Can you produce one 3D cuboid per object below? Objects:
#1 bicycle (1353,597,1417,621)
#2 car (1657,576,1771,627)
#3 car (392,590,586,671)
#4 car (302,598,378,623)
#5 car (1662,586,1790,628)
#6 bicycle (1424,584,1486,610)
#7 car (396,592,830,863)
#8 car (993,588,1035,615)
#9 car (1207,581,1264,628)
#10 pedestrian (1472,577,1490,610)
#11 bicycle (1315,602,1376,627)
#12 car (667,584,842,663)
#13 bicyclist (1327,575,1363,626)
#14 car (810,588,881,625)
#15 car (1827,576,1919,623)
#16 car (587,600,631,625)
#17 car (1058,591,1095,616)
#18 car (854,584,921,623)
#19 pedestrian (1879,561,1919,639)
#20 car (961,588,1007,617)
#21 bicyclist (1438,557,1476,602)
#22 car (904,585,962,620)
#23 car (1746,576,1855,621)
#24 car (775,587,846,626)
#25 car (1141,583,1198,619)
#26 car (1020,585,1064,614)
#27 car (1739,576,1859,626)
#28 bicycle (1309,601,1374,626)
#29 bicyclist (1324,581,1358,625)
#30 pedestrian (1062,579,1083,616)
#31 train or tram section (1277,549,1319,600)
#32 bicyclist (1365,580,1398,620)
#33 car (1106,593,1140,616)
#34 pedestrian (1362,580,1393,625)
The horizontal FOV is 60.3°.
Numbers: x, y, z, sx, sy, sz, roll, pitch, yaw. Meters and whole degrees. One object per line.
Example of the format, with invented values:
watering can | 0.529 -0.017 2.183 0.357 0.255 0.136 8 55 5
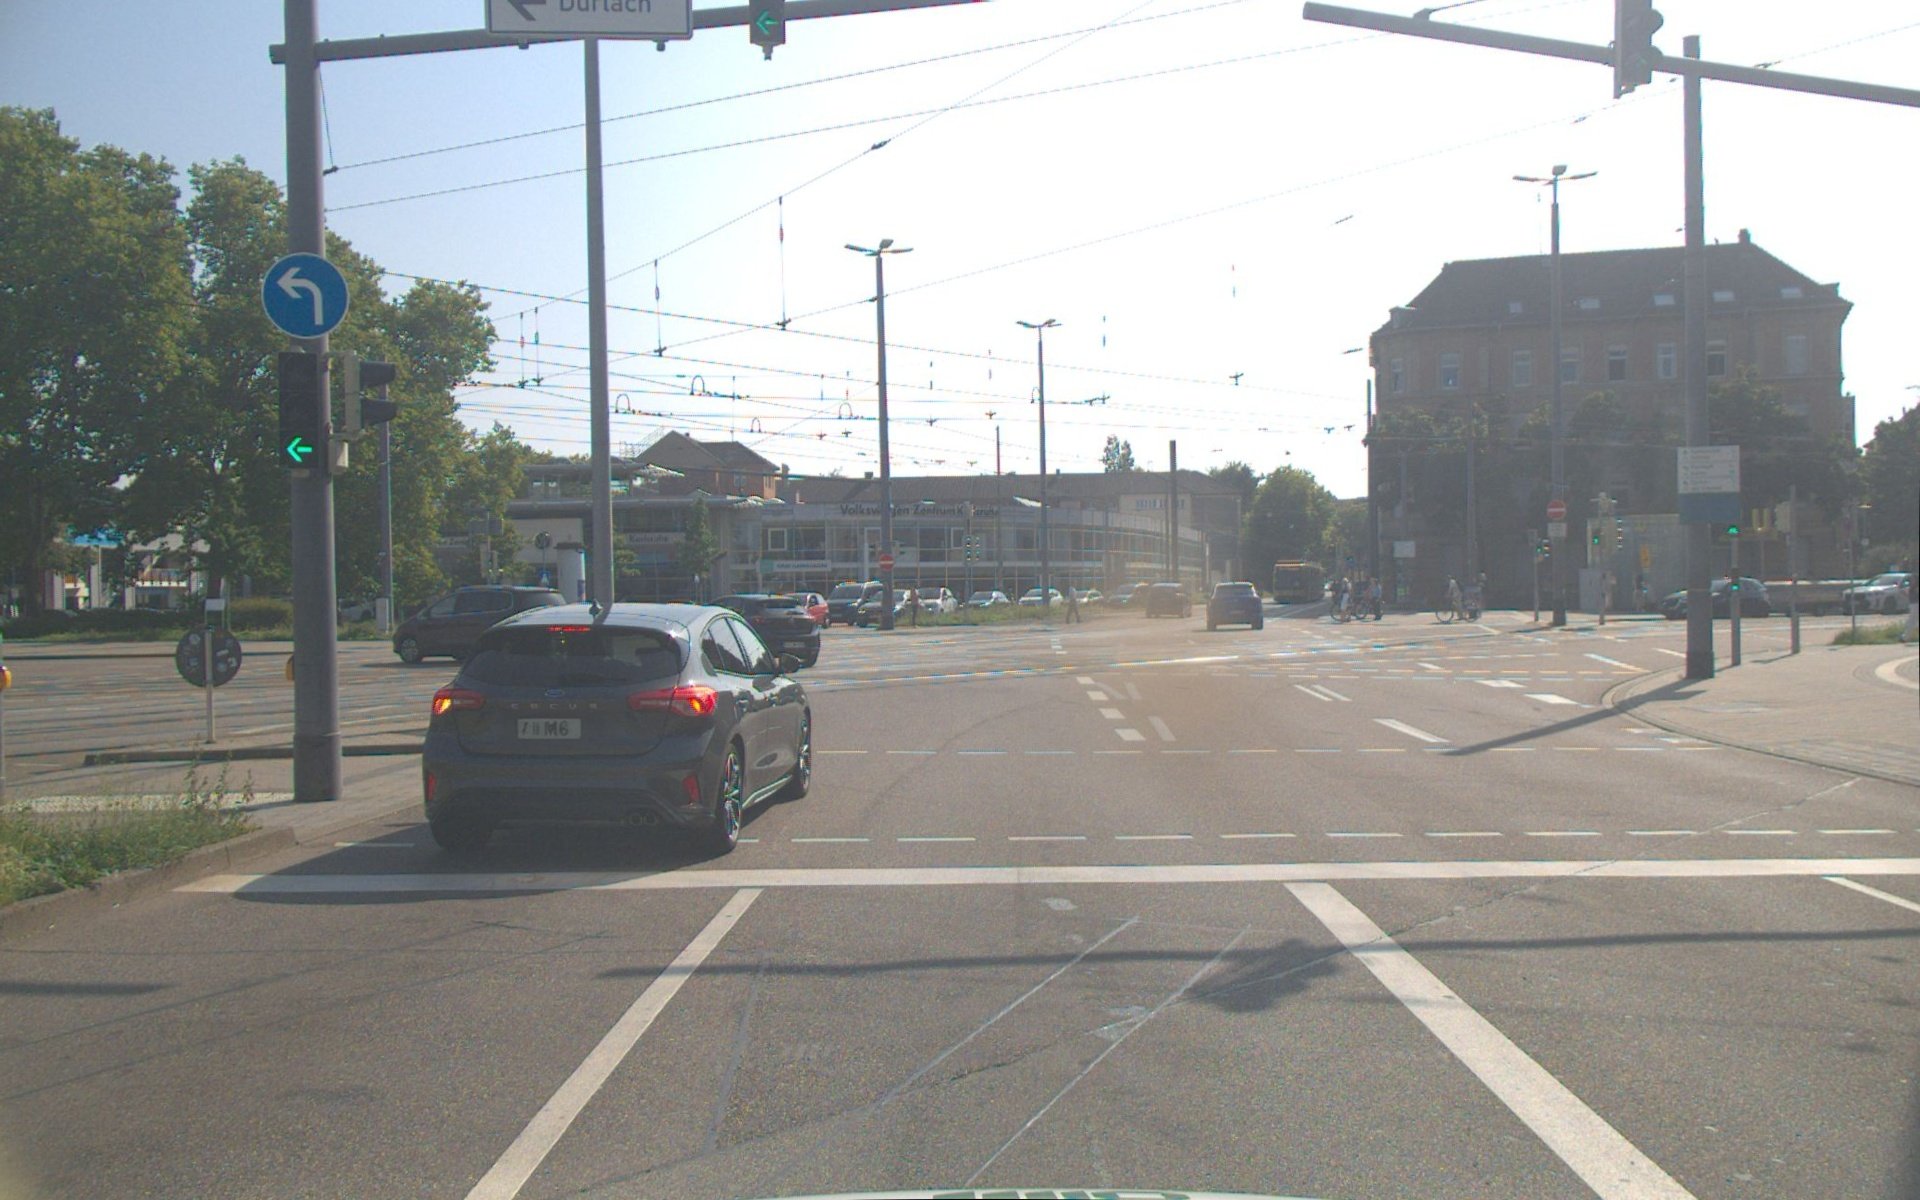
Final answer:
bicycle | 18.336 0.369 71.341 2.585 0.981 1.085 -1 0 -25
car | 28.963 0.054 63.545 4.189 1.891 1.892 -1 0 -29
car | -10.877 0.686 38.157 4.316 1.744 1.828 -1 0 30
car | -39.716 0.674 106.049 1.668 1.549 4.506 -1 0 30
car | 27.466 0.221 59.303 4.325 1.421 2.004 -1 0 -29
bicycle | 19.556 -0.131 65.291 2.600 0.981 1.078 -1 0 -38
car | -2.071 0.689 11.272 1.794 1.460 4.552 -1 0 3
car | 3.258 0.096 99.044 1.580 1.501 4.003 -3 0 15
car | 9.212 0.124 55.355 1.786 1.453 4.416 -1 1 9
pedestrian | 23.860 -0.284 75.708 0.537 1.496 0.663 -1 0 45
bicycle | 15.727 0.584 67.460 2.600 0.981 1.078 -1 0 -38
car | -4.295 0.498 34.028 1.670 1.518 4.315 0 -1 -37
bicyclist | 15.683 0.031 67.434 0.927 2.059 1.078 -1 0 -38
car | -5.053 0.256 73.437 1.919 1.501 4.003 -3 0 14
car | 37.861 -0.039 67.685 4.598 1.891 2.026 -1 0 -29
car | -22.254 0.790 104.899 1.664 1.549 4.101 -1 0 4
car | 7.486 0.217 105.924 1.580 1.501 4.003 -3 0 15
car | -2.960 0.119 68.324 1.580 1.501 4.003 -3 0 14
pedestrian | 21.267 -0.002 37.245 0.904 1.719 0.834 -1 0 36
car | 1.376 0.130 92.105 1.580 1.501 4.003 -3 0 15
bicyclist | 19.637 -0.815 65.356 0.927 1.738 1.078 -1 0 -38
car | -1.184 0.096 74.766 1.580 1.501 4.003 -3 0 14
car | 37.103 -0.083 73.029 4.196 1.891 1.921 -1 0 -20
car | -6.068 0.251 67.513 1.580 1.501 4.003 -3 0 14
car | 9.893 0.029 77.799 1.787 1.562 4.414 -1 1 19
car | 4.579 -0.046 92.099 1.580 1.501 4.003 -3 0 15
car | 33.332 0.015 65.673 4.638 1.891 1.894 -1 0 -27
bicycle | 16.088 0.566 69.740 2.585 0.981 1.085 -1 0 -25
bicyclist | 16.069 0.138 69.729 0.922 1.831 1.085 -1 0 -24
pedestrian | 4.666 -0.116 68.575 0.761 1.529 0.711 -1 0 7
train or tram section | 26.666 -1.988 130.242 2.598 3.763 10.598 -1 1 14
bicyclist | 18.159 -0.002 71.252 0.922 1.709 1.085 -1 0 -24
car | 11.270 0.313 114.232 1.580 1.501 4.003 -3 0 15
pedestrian | 17.352 0.089 68.705 0.920 1.828 0.847 -1 0 -42
